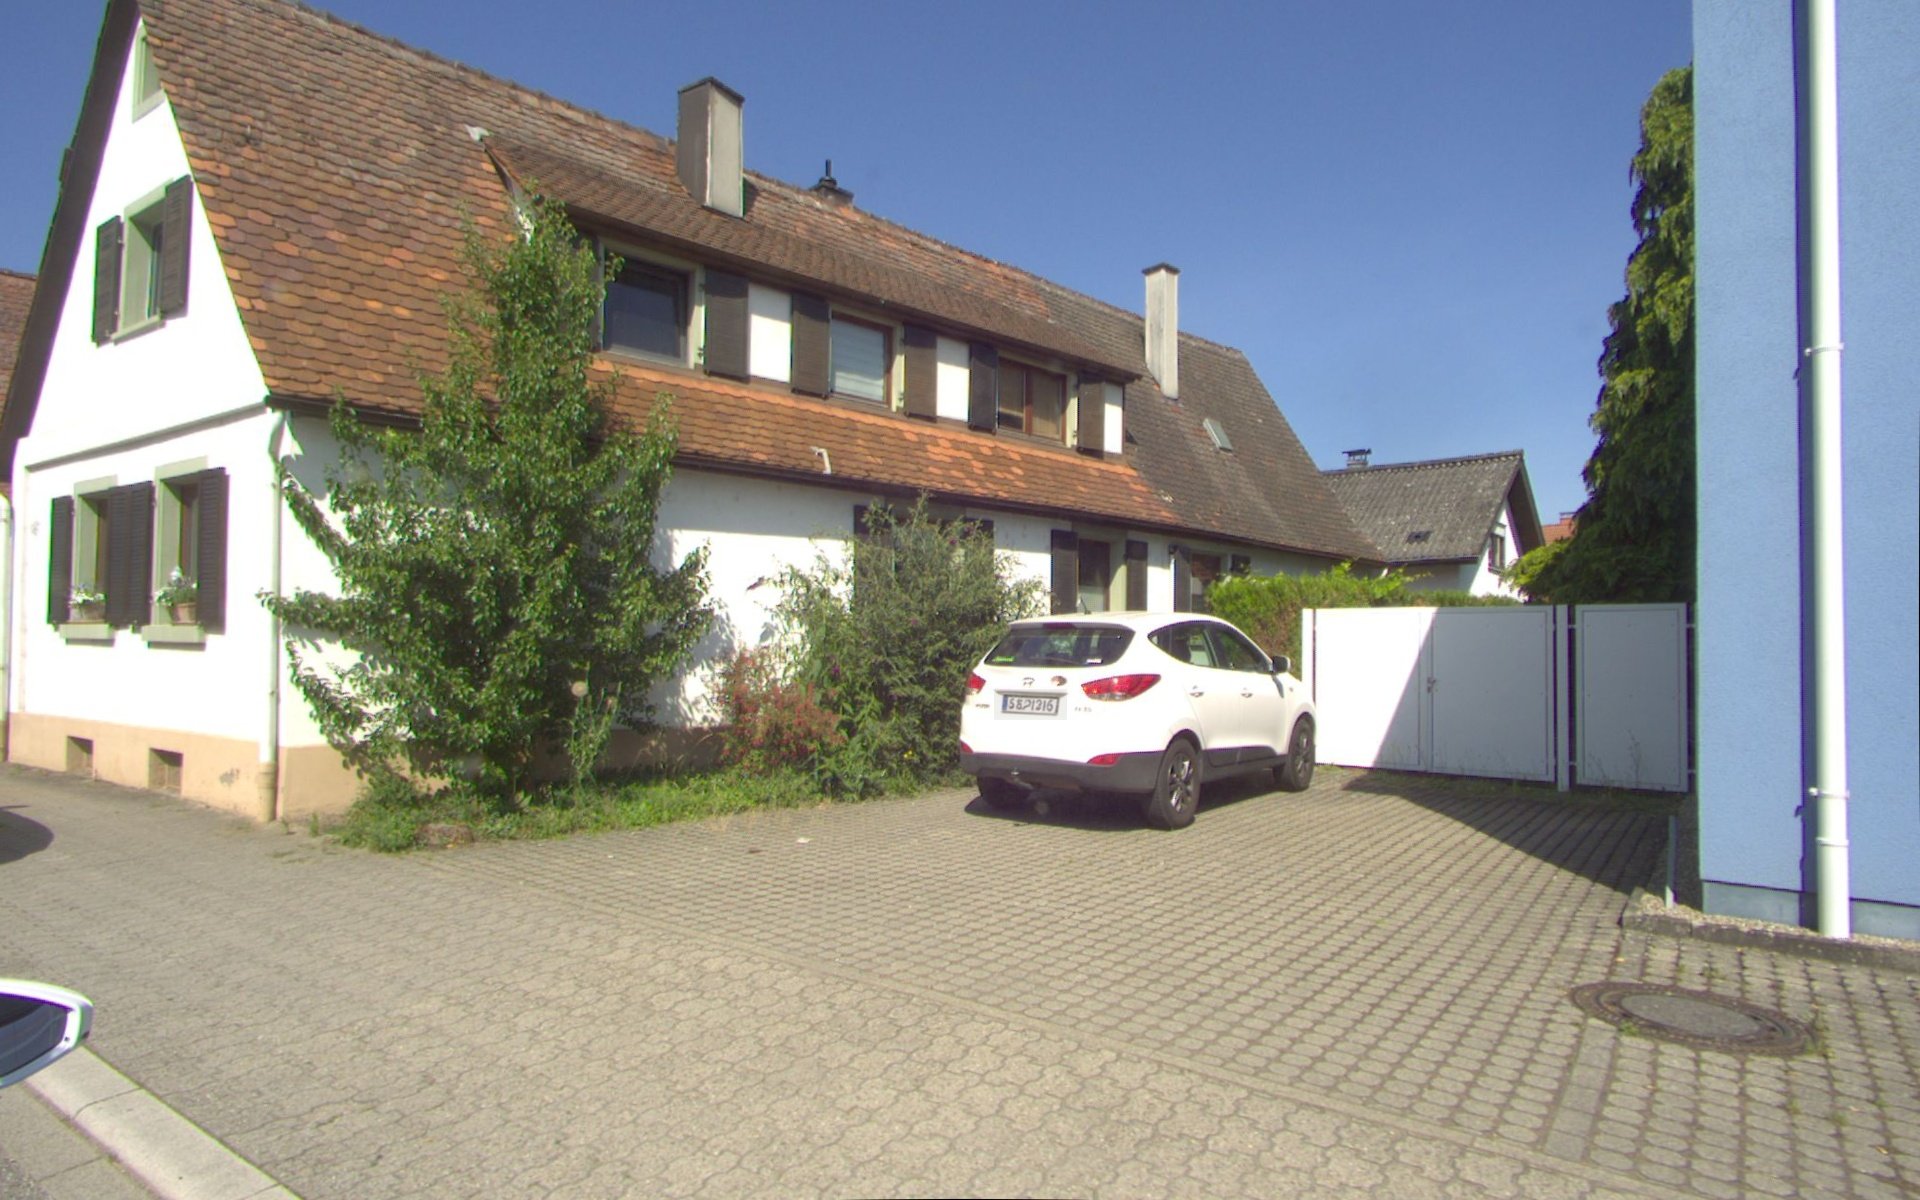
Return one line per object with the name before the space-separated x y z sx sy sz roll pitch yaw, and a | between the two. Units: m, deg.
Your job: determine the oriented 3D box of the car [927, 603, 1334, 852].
car | 1.736 0.957 8.973 1.791 1.678 4.158 -2 -3 39
